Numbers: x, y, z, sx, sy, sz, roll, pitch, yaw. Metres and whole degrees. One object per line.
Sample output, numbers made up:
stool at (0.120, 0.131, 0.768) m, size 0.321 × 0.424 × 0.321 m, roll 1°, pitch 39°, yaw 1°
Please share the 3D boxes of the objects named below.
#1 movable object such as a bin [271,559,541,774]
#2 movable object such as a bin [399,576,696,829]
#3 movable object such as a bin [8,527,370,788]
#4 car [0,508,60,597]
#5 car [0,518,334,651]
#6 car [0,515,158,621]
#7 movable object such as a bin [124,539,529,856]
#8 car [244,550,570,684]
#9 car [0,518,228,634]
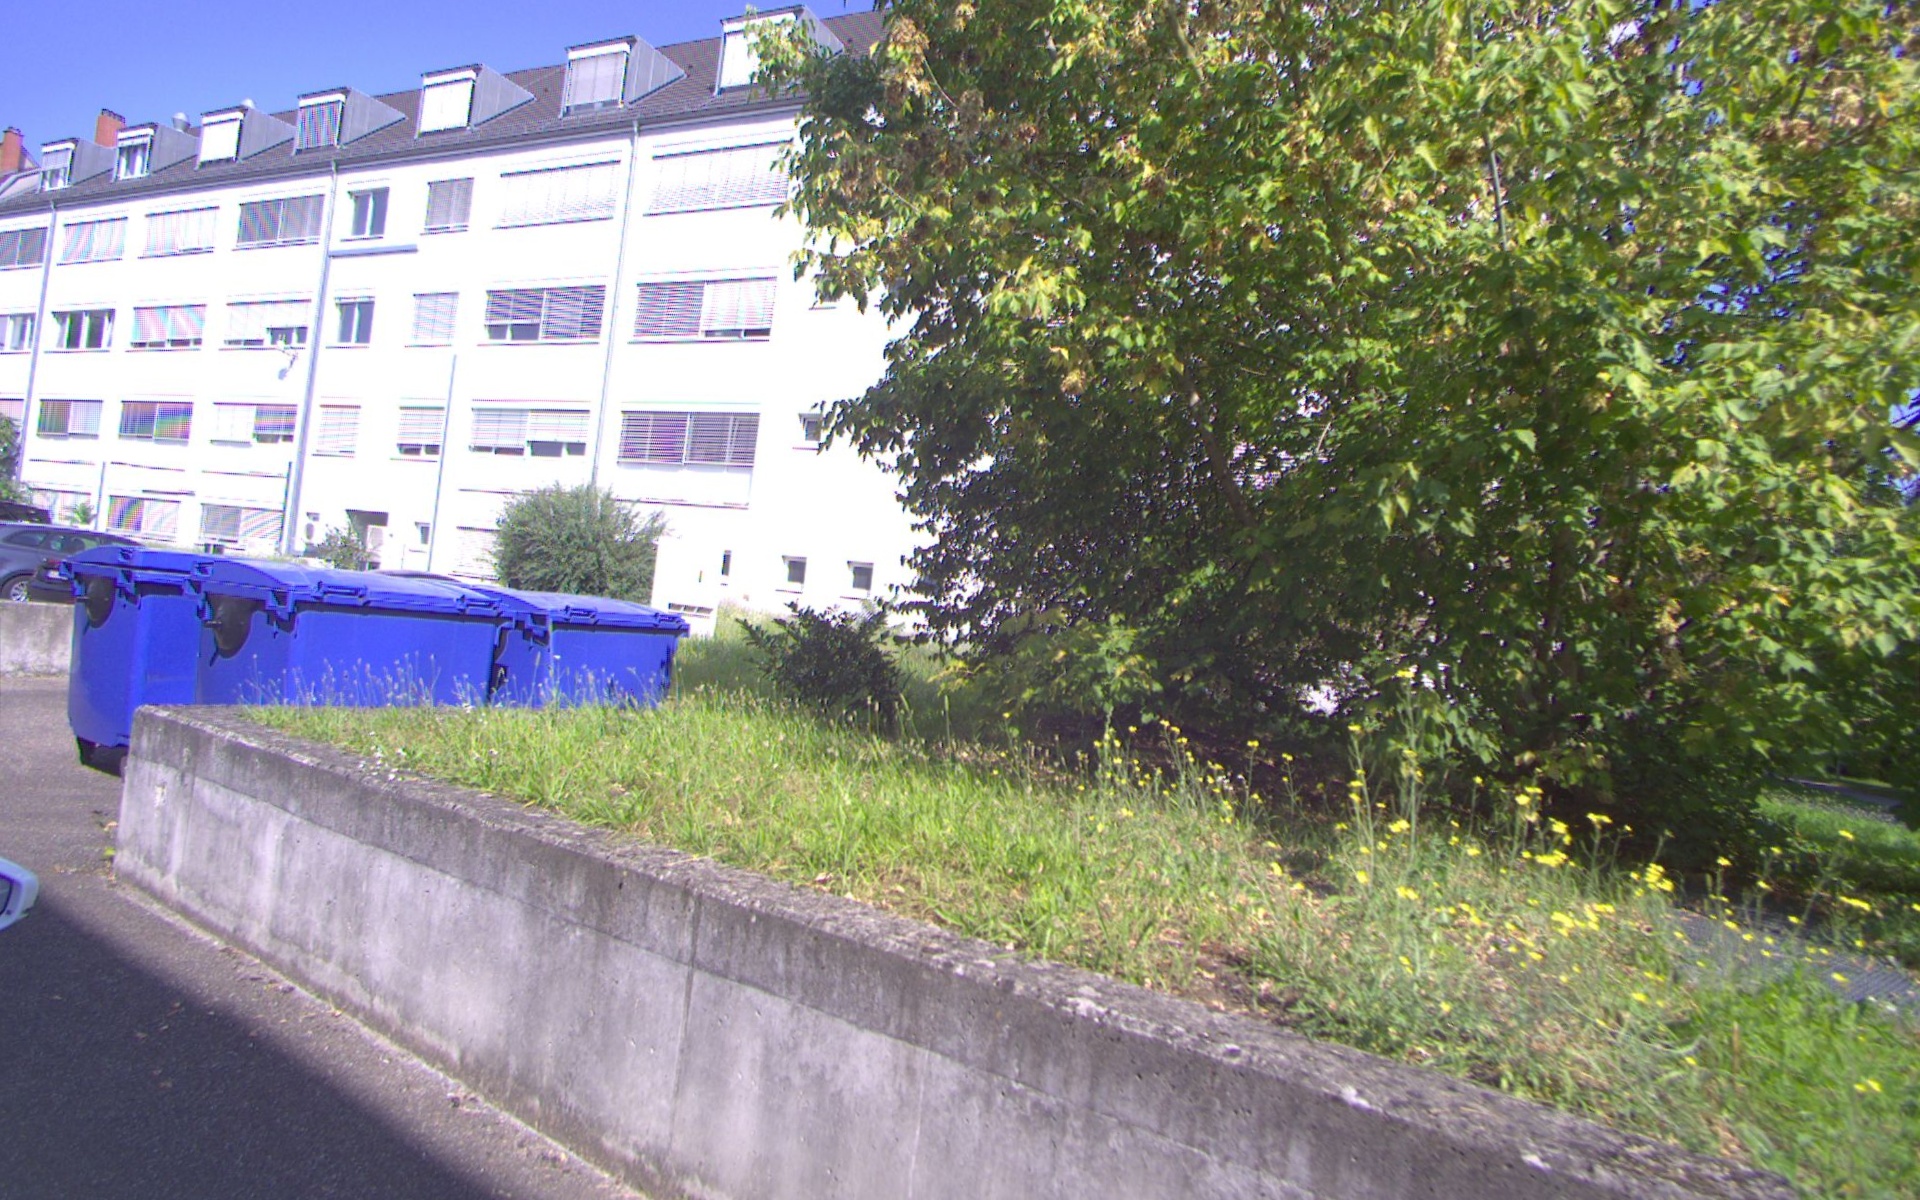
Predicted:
movable object such as a bin at (-4.010, 0.485, 7.337) m, size 1.099 × 1.355 × 1.236 m, roll 5°, pitch -3°, yaw 34°
movable object such as a bin at (-2.589, 0.632, 6.435) m, size 1.058 × 1.355 × 1.230 m, roll 5°, pitch -3°, yaw 26°
movable object such as a bin at (-4.713, 0.351, 6.216) m, size 1.175 × 1.355 × 1.303 m, roll 5°, pitch -3°, yaw 30°
car at (-21.869, -1.229, 20.705) m, size 1.848 × 1.814 × 4.518 m, roll 5°, pitch -3°, yaw 22°
car at (-12.764, -0.160, 16.443) m, size 1.862 × 1.606 × 3.815 m, roll 5°, pitch -3°, yaw 21°
car at (-18.099, -0.720, 19.011) m, size 1.741 × 1.710 × 4.130 m, roll 5°, pitch -4°, yaw 28°
movable object such as a bin at (-3.263, 0.483, 5.292) m, size 1.081 × 1.355 × 1.313 m, roll 5°, pitch -3°, yaw 28°
car at (-7.688, 0.248, 14.313) m, size 1.772 × 1.565 × 3.622 m, roll 5°, pitch 1°, yaw 29°
car at (-15.644, -0.429, 17.743) m, size 1.846 × 1.606 × 3.876 m, roll 5°, pitch -4°, yaw 26°
